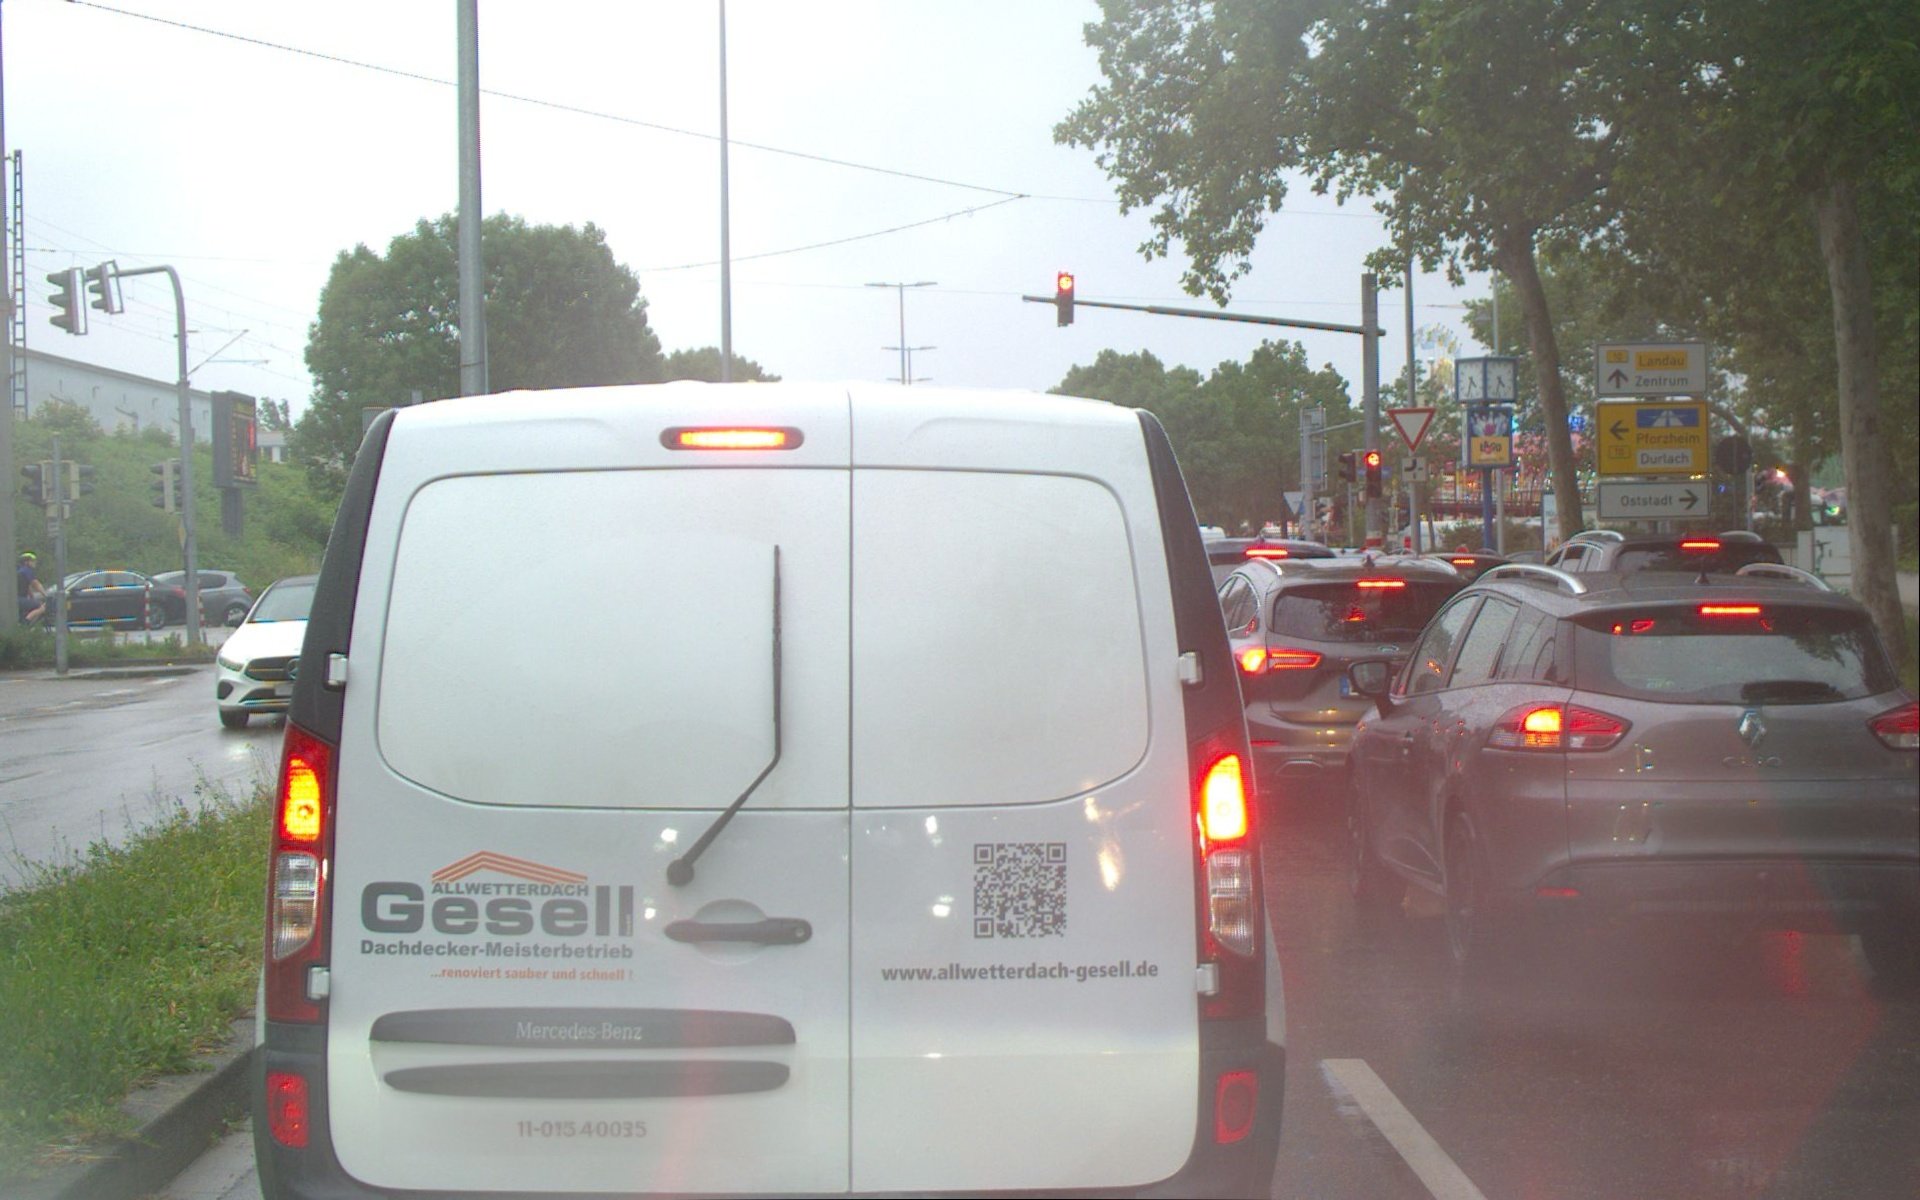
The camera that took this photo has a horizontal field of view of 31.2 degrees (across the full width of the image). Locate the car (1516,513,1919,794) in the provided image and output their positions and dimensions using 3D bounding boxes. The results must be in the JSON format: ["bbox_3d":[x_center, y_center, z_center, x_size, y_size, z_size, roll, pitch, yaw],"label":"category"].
[{"bbox_3d":[5.105,0.315,23.269,1.856,1.720,4.191,0,0,-2],"label":"car"}]

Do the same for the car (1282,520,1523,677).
[{"bbox_3d":[4.537,-0.030,35.802,1.839,1.531,4.112,1,0,-2],"label":"car"}]

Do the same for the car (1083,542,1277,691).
[{"bbox_3d":[2.235,0.125,35.782,1.711,1.440,4.000,0,1,-1],"label":"car"}]

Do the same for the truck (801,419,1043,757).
[{"bbox_3d":[-0.354,-0.105,27.036,1.756,2.458,4.000,0,0,-2],"label":"truck"}]

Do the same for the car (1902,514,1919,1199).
[{"bbox_3d":[2.958,0.643,5.395,1.708,1.544,4.001,0,2,-2],"label":"car"}]

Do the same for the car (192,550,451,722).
[{"bbox_3d":[-6.294,0.316,34.312,1.826,1.563,4.000,-2,1,0],"label":"car"}]

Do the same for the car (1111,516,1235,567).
[{"bbox_3d":[7.460,-2.051,120.307,3.991,1.707,1.771,0,-1,21],"label":"car"}]

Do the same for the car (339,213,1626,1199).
[{"bbox_3d":[-0.040,0.393,7.332,1.993,2.007,4.000,0,0,-2],"label":"car"}]

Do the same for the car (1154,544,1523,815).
[{"bbox_3d":[2.158,0.395,20.572,1.711,1.440,4.000,0,1,-1],"label":"car"}]

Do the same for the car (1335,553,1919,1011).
[{"bbox_3d":[2.530,0.559,13.076,1.711,1.440,4.000,0,1,-1],"label":"car"}]
